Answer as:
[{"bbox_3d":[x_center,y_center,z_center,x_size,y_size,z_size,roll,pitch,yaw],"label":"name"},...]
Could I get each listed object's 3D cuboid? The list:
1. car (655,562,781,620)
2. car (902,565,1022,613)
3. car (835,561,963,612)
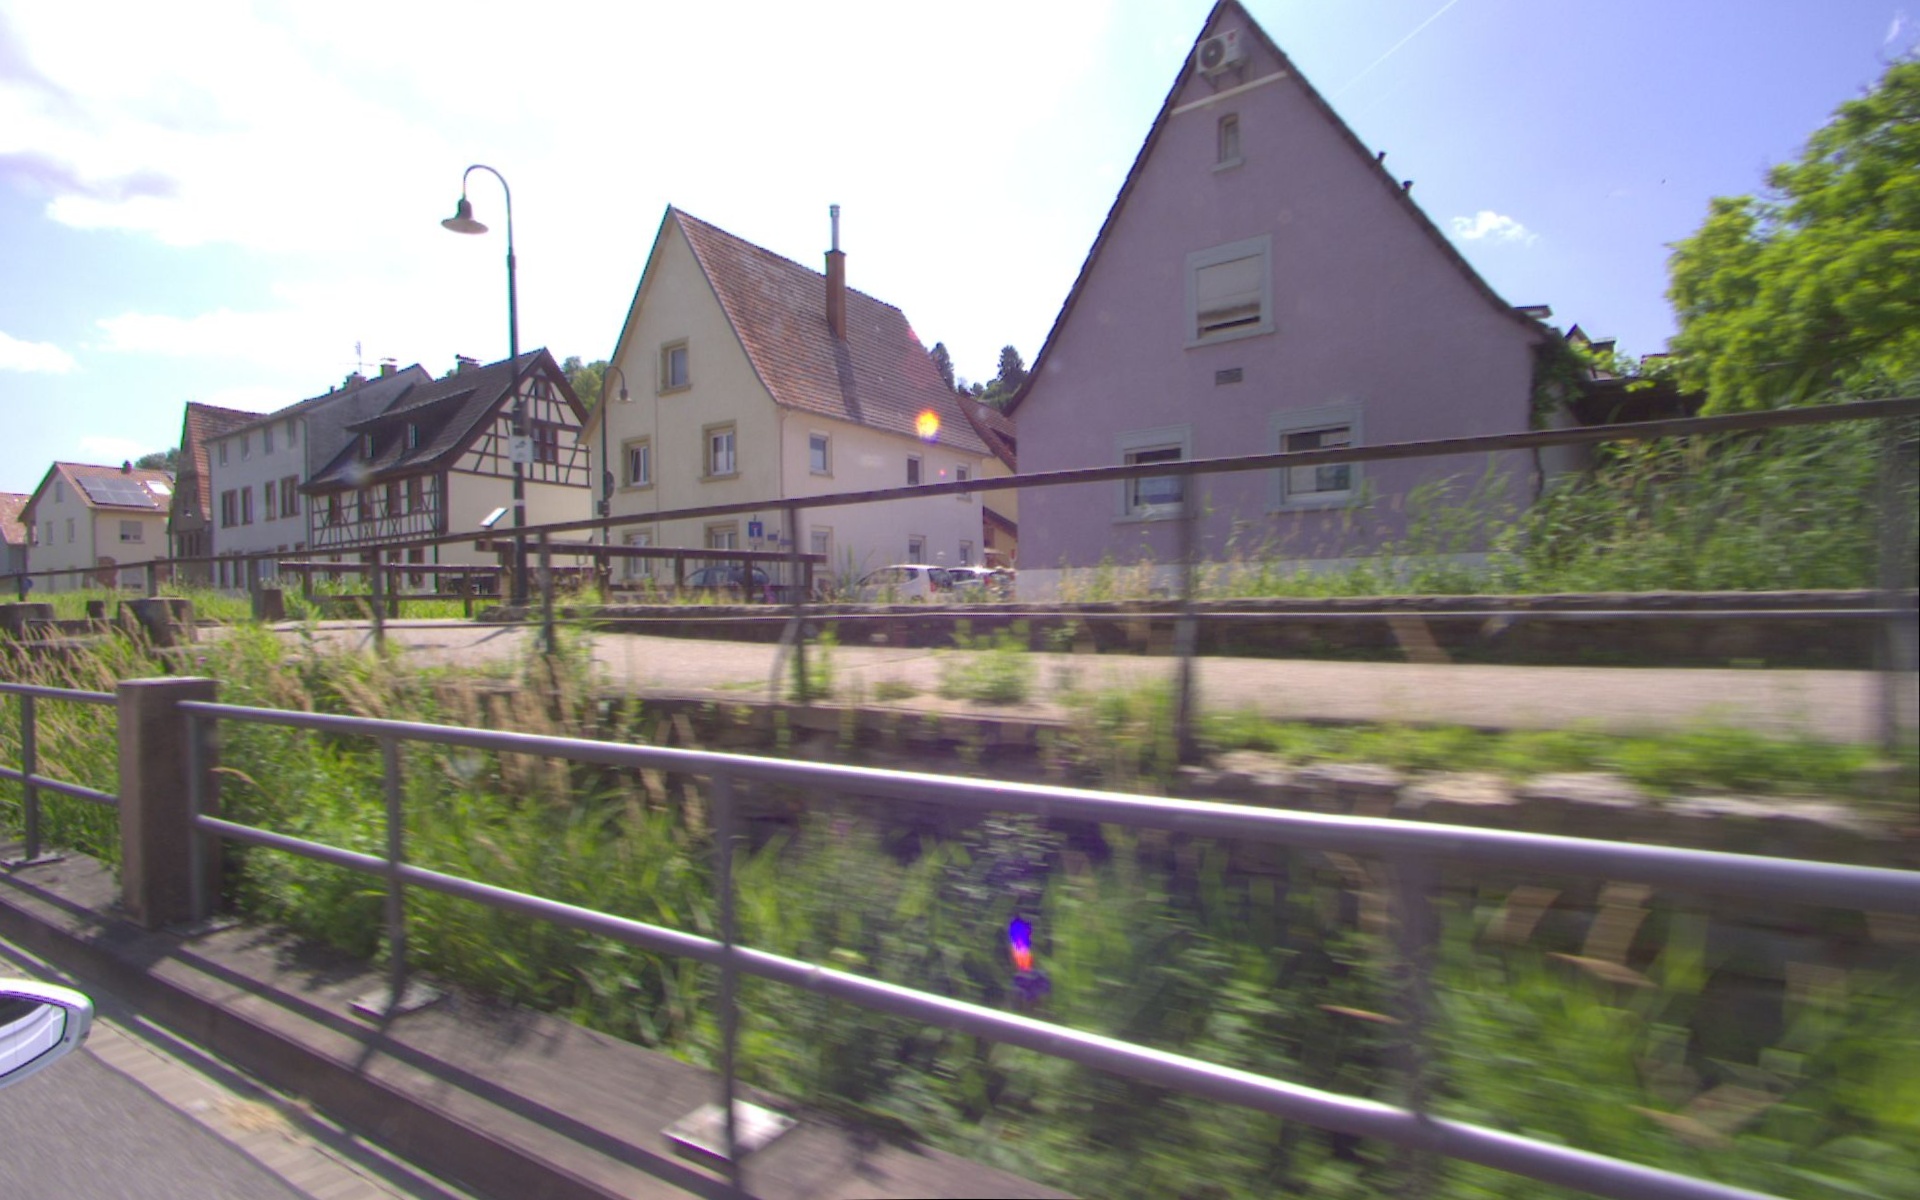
[{"bbox_3d":[-6.466,-0.197,26.707,3.037,1.434,1.661,-1,-1,35],"label":"car"},{"bbox_3d":[0.058,-0.288,29.978,3.196,1.342,1.663,-1,-1,31],"label":"car"},{"bbox_3d":[-1.726,-0.377,28.275,3.196,1.343,1.662,-1,2,31],"label":"car"}]
